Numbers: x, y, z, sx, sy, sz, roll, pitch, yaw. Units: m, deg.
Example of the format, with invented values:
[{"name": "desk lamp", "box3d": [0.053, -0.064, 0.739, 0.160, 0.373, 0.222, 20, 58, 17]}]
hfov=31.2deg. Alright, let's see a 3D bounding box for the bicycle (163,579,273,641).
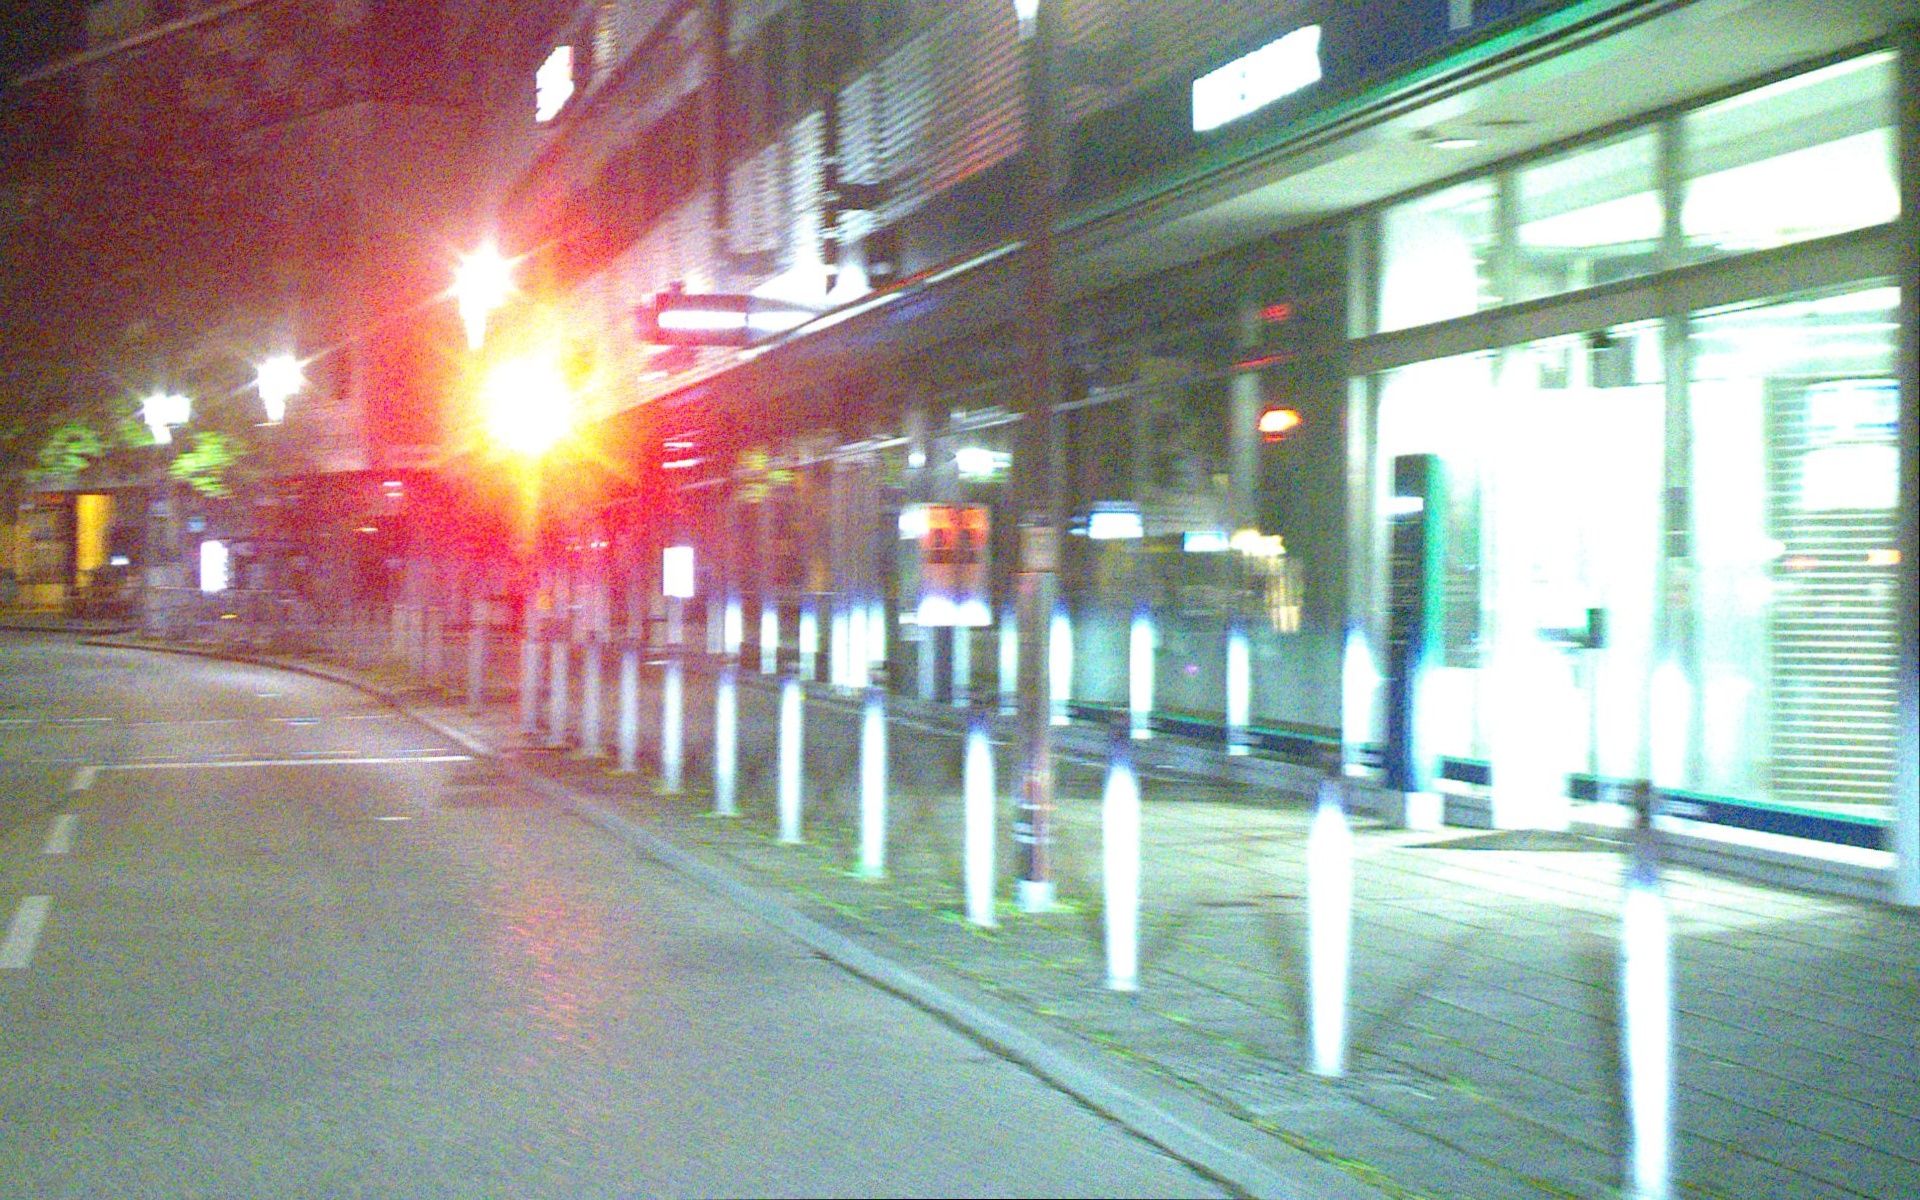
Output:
[{"name": "bicycle", "box3d": [-12.906, 0.162, 59.785, 1.749, 1.059, 0.655, 0, 1, -37]}]
